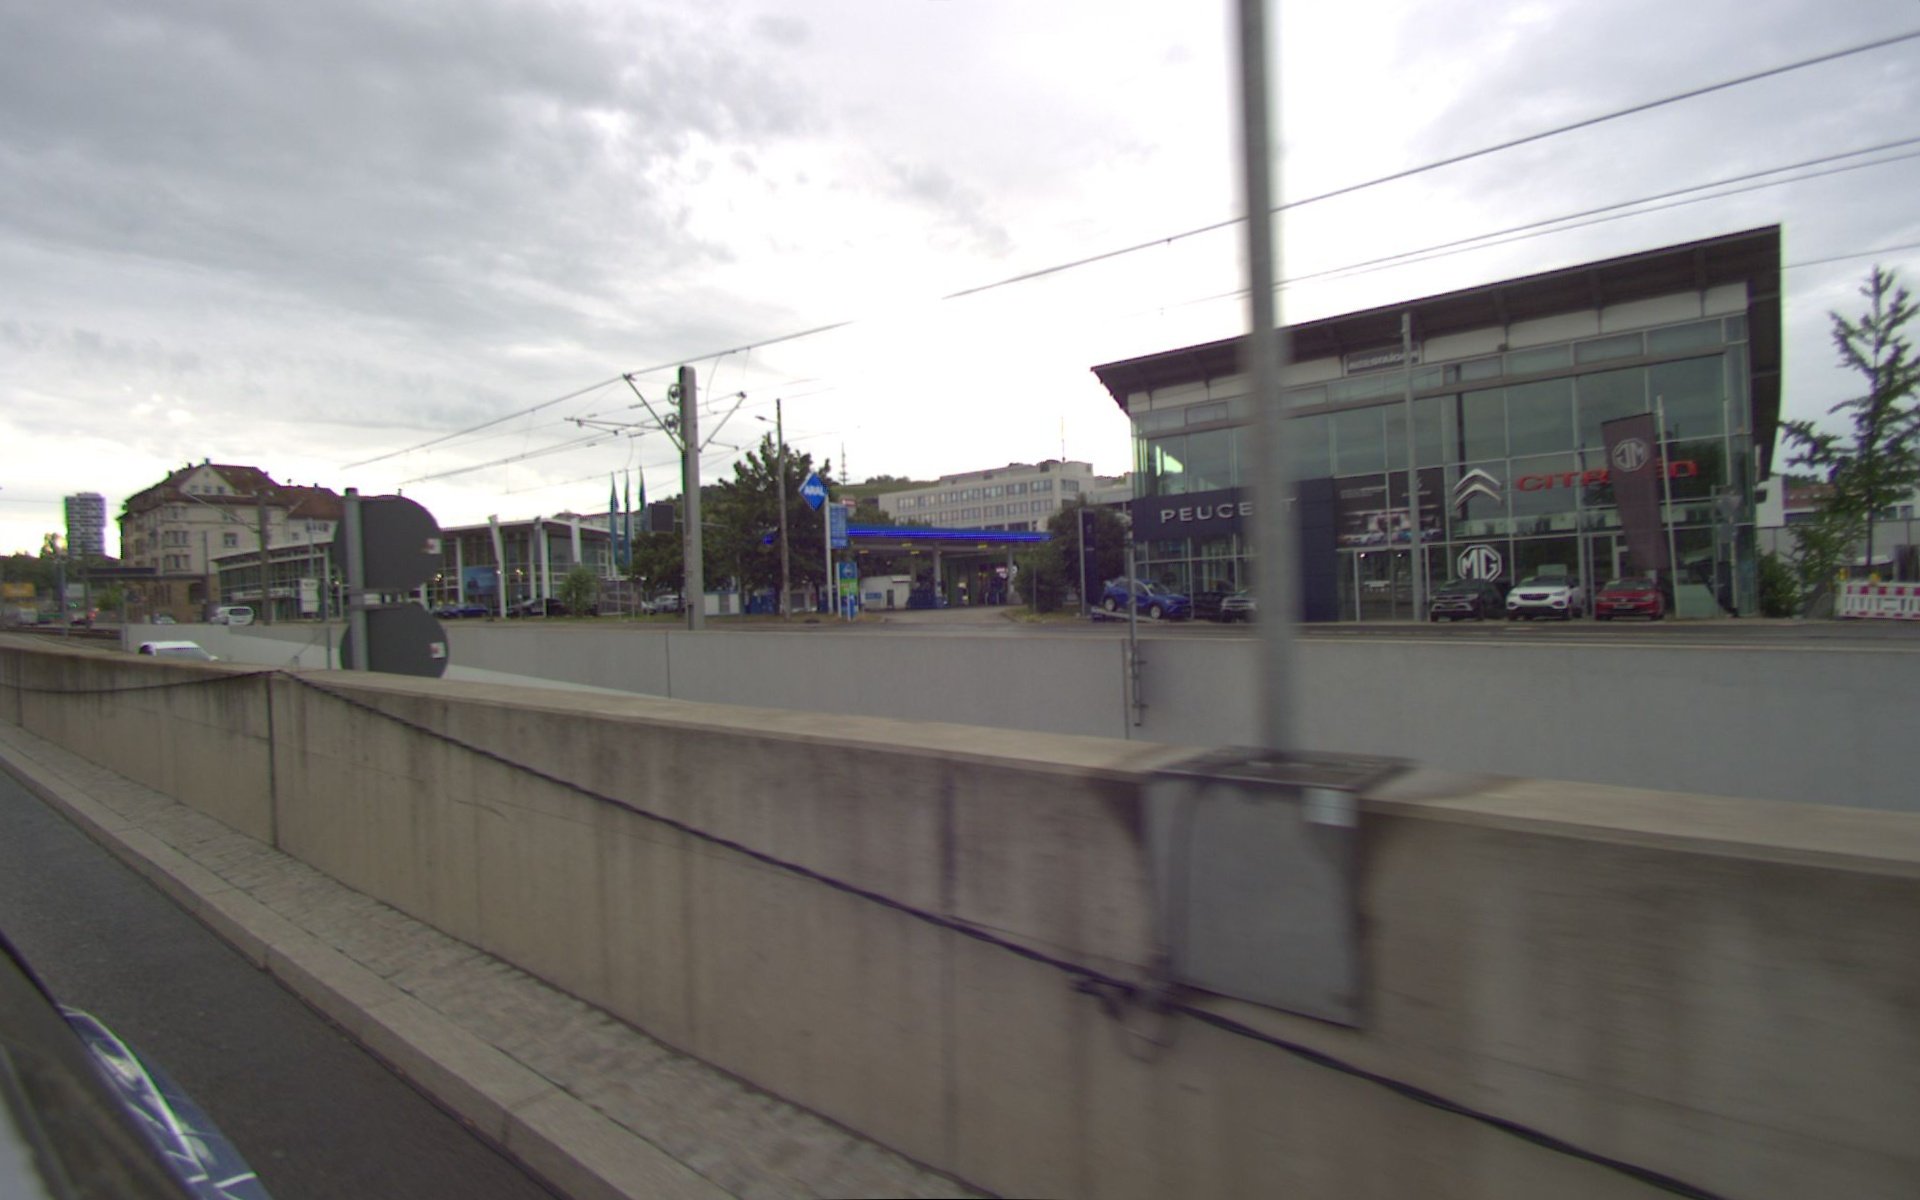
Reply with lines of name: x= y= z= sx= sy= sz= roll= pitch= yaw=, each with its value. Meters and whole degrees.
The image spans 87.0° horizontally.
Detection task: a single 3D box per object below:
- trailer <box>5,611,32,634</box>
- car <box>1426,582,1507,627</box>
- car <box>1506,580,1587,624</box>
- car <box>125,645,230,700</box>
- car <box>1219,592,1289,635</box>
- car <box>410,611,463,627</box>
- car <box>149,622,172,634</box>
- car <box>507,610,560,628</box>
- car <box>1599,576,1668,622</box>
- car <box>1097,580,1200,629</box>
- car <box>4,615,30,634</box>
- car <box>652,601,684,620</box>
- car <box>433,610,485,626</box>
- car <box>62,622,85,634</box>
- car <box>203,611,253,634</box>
trailer: x=-172.073 y=4.066 z=184.879 sx=9.077 sy=4.082 sz=2.656 roll=-1 pitch=-1 yaw=41
car: x=17.948 y=0.155 z=35.812 sx=1.749 sy=1.485 sz=3.444 roll=-2 pitch=-1 yaw=41
car: x=19.846 y=0.064 z=34.203 sx=1.749 sy=1.407 sz=3.444 roll=-2 pitch=-1 yaw=41
car: x=-25.872 y=2.348 z=33.421 sx=4.317 sy=1.585 sz=1.956 roll=-2 pitch=-1 yaw=41
car: x=11.838 y=0.578 z=40.631 sx=1.572 sy=1.413 sz=3.469 roll=-3 pitch=-6 yaw=37
car: x=-45.816 y=1.647 z=88.619 sx=1.690 sy=1.244 sz=3.973 roll=-3 pitch=0 yaw=20
car: x=-85.816 y=3.003 z=108.611 sx=2.799 sy=1.309 sz=1.368 roll=-2 pitch=0 yaw=40
car: x=-33.963 y=1.530 z=80.636 sx=1.717 sy=1.284 sz=3.476 roll=-1 pitch=0 yaw=45
car: x=21.921 y=0.006 z=32.910 sx=1.616 sy=1.392 sz=3.447 roll=-2 pitch=-1 yaw=38
car: x=8.025 y=0.138 z=43.341 sx=1.740 sy=1.620 sz=4.074 roll=-2 pitch=7 yaw=-42
car: x=-138.923 y=3.646 z=149.072 sx=6.161 sy=2.618 sz=2.030 roll=-1 pitch=0 yaw=41
car: x=-25.813 y=0.963 z=89.365 sx=2.798 sy=1.585 sz=1.368 roll=-2 pitch=0 yaw=39
car: x=-43.436 y=1.573 z=87.867 sx=1.747 sy=1.244 sz=3.973 roll=-1 pitch=0 yaw=20
car: x=-119.004 y=3.777 z=135.866 sx=4.337 sy=1.527 sz=1.723 roll=-1 pitch=0 yaw=41
car: x=-56.746 y=1.770 z=78.465 sx=5.031 sy=1.708 sz=1.980 roll=-2 pitch=0 yaw=40
